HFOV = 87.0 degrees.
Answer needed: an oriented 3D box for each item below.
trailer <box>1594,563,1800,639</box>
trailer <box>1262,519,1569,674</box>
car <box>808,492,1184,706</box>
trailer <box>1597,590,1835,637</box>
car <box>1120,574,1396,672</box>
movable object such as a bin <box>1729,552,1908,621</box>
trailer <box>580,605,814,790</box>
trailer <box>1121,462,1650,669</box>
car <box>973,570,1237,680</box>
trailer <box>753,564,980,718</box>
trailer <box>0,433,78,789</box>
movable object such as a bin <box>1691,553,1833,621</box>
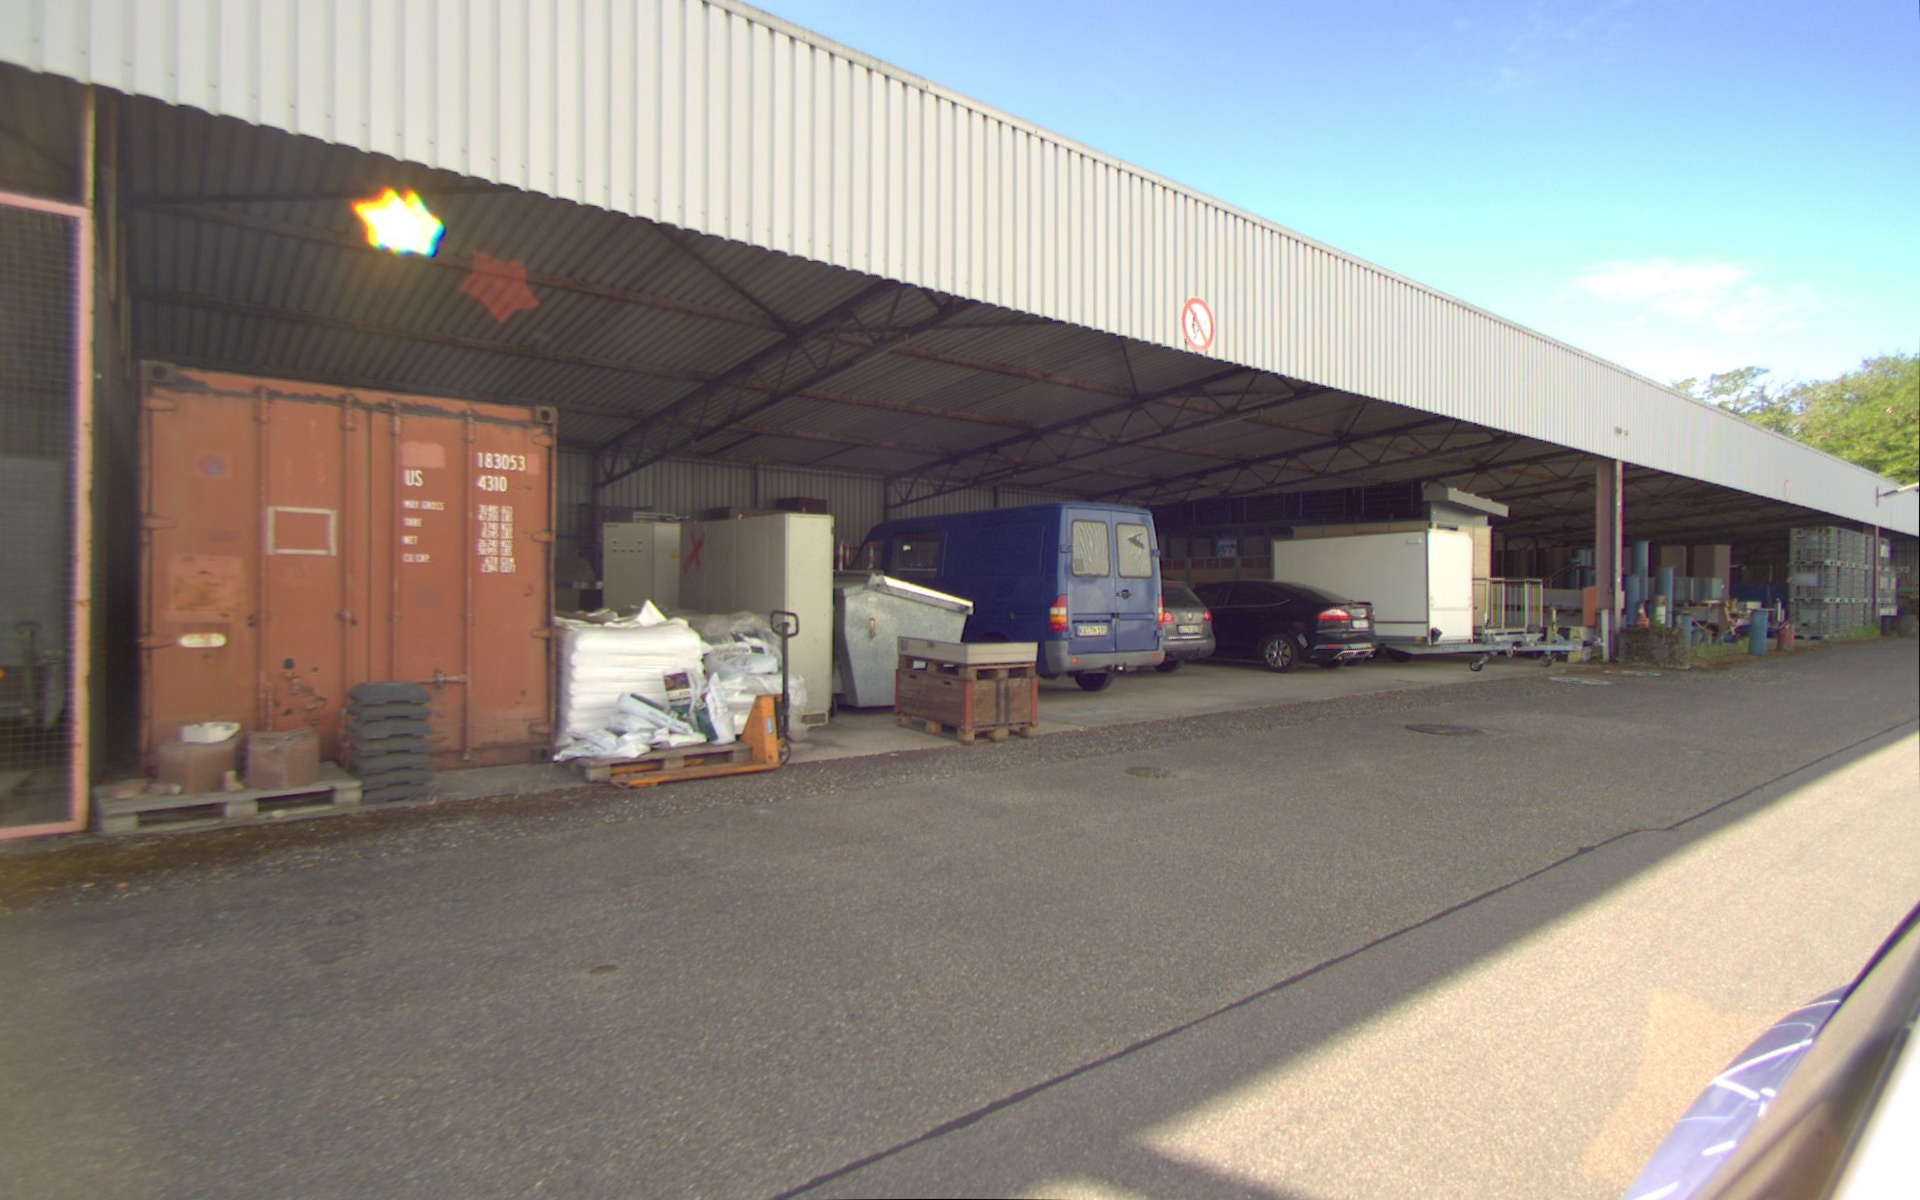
[{"bbox_3d":[21.498,-0.050,29.675,2.123,2.015,4.436,-1,2,-37],"label":"trailer"},{"bbox_3d":[7.871,-0.137,17.889,2.010,2.371,4.529,-1,2,-37],"label":"trailer"},{"bbox_3d":[0.223,-0.077,13.649,2.114,2.309,5.344,-1,1,-39],"label":"car"},{"bbox_3d":[23.773,0.350,32.082,1.939,1.200,5.741,-1,2,-40],"label":"trailer"},{"bbox_3d":[5.011,0.306,17.467,1.837,1.490,4.255,0,1,-41],"label":"car"},{"bbox_3d":[39.386,-0.628,46.581,2.769,2.961,5.849,0,1,-38],"label":"movable object such as a bin"},{"bbox_3d":[-1.831,0.626,7.160,1.520,1.132,0.553,-1,2,-41],"label":"trailer"},{"bbox_3d":[8.183,-0.735,21.468,2.750,3.384,10.296,0,2,-38],"label":"trailer"},{"bbox_3d":[2.193,0.294,16.153,1.808,1.533,3.970,-1,2,-41],"label":"car"},{"bbox_3d":[-1.070,0.362,11.138,1.705,1.484,2.046,0,2,-35],"label":"trailer"},{"bbox_3d":[-7.260,0.045,6.215,2.755,2.170,1.923,0,2,-41],"label":"trailer"},{"bbox_3d":[36.065,-0.598,45.603,2.451,2.866,4.538,0,1,-38],"label":"movable object such as a bin"}]
